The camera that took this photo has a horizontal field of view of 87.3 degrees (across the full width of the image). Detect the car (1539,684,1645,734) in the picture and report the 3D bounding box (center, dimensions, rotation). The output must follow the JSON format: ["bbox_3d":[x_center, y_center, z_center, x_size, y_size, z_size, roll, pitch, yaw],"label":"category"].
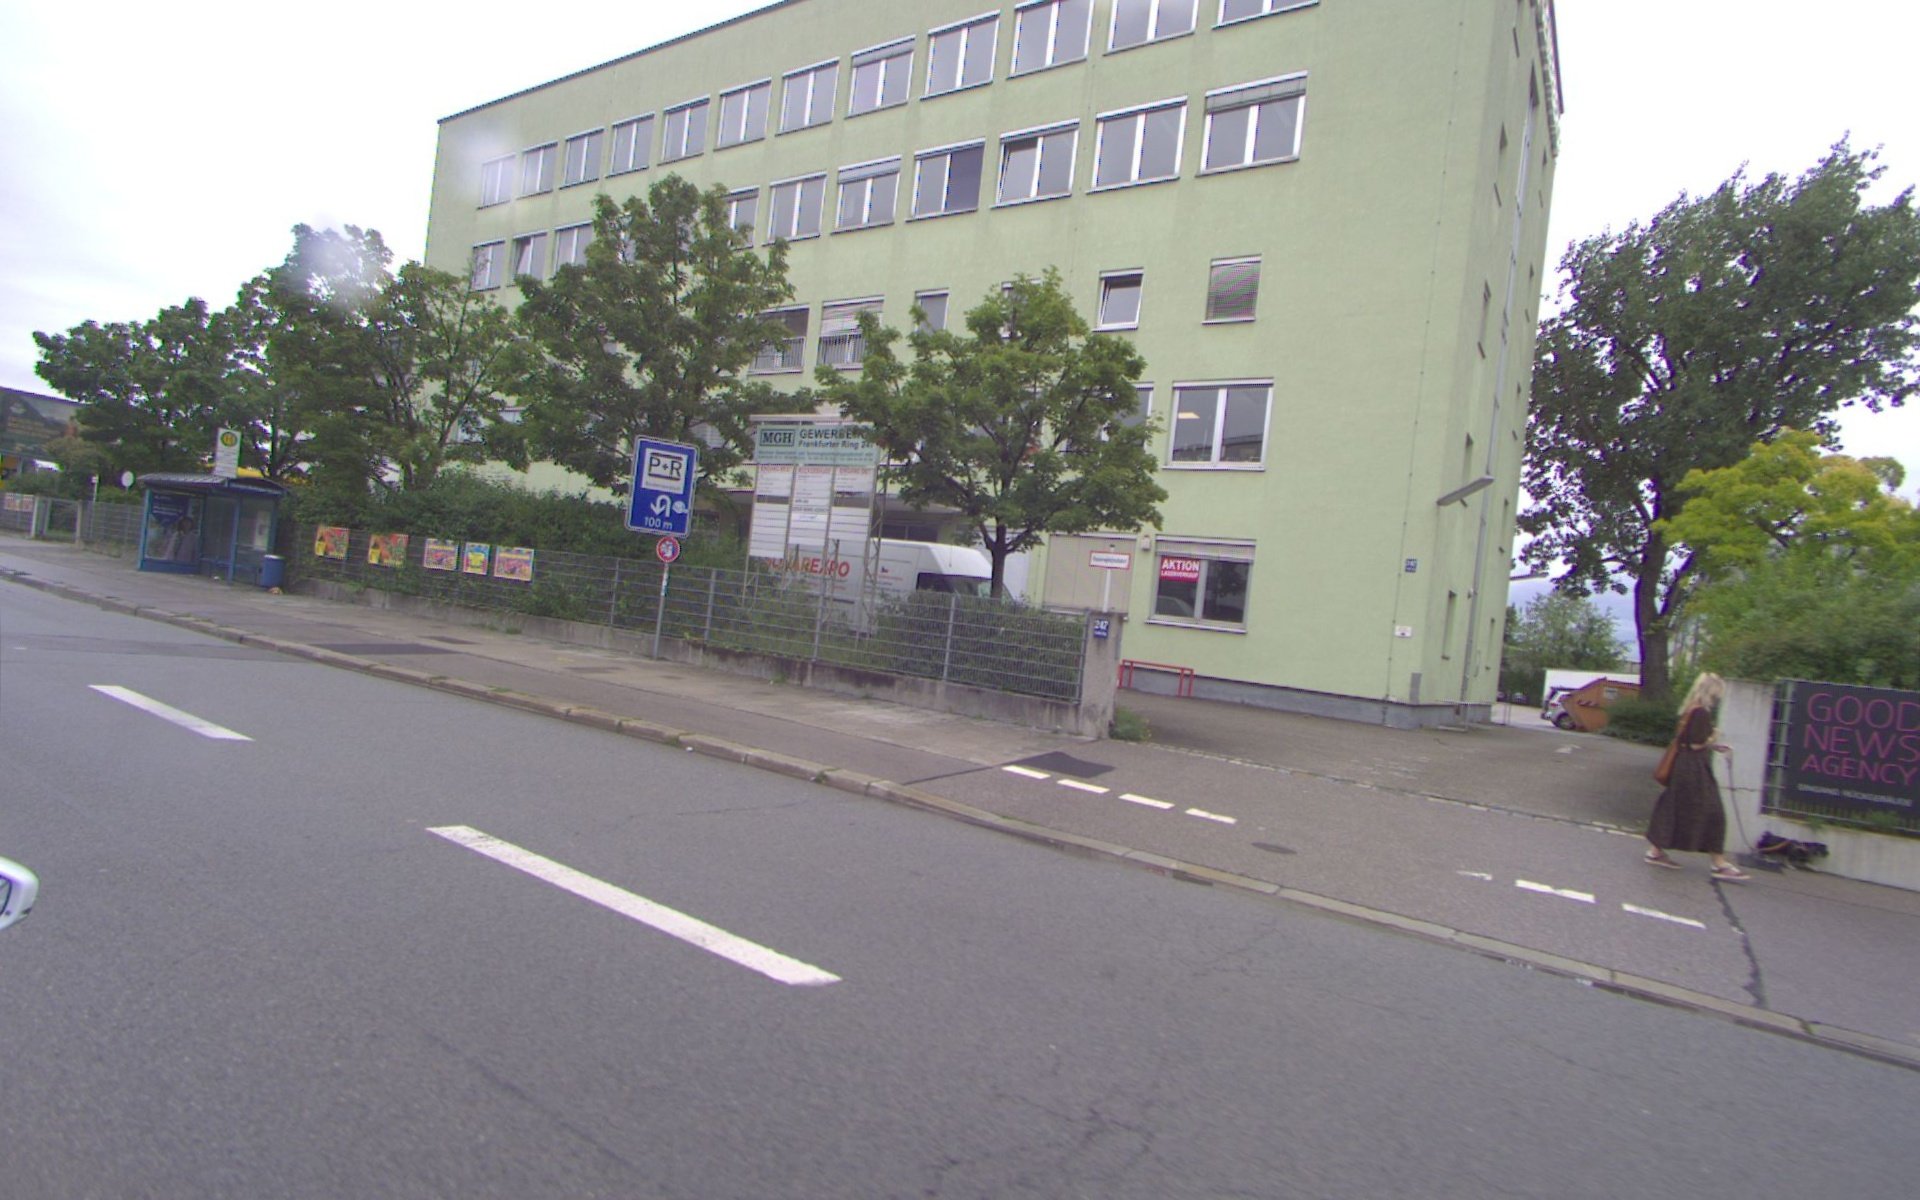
[{"bbox_3d":[28.996,4.971,46.292,3.934,1.659,1.875,6,-1,32],"label":"car"}]

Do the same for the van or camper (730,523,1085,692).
[{"bbox_3d":[-1.305,0.021,19.844,7.282,2.527,2.123,6,-1,40],"label":"van or camper"}]

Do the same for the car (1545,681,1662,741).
[{"bbox_3d":[27.180,4.680,42.656,3.934,1.904,1.946,6,-1,32],"label":"car"}]

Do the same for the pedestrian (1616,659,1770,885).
[{"bbox_3d":[6.379,1.450,8.814,0.881,1.752,0.757,7,4,34],"label":"pedestrian"}]

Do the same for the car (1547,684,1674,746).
[{"bbox_3d":[25.286,4.444,39.283,3.934,1.771,1.946,6,-1,32],"label":"car"}]
